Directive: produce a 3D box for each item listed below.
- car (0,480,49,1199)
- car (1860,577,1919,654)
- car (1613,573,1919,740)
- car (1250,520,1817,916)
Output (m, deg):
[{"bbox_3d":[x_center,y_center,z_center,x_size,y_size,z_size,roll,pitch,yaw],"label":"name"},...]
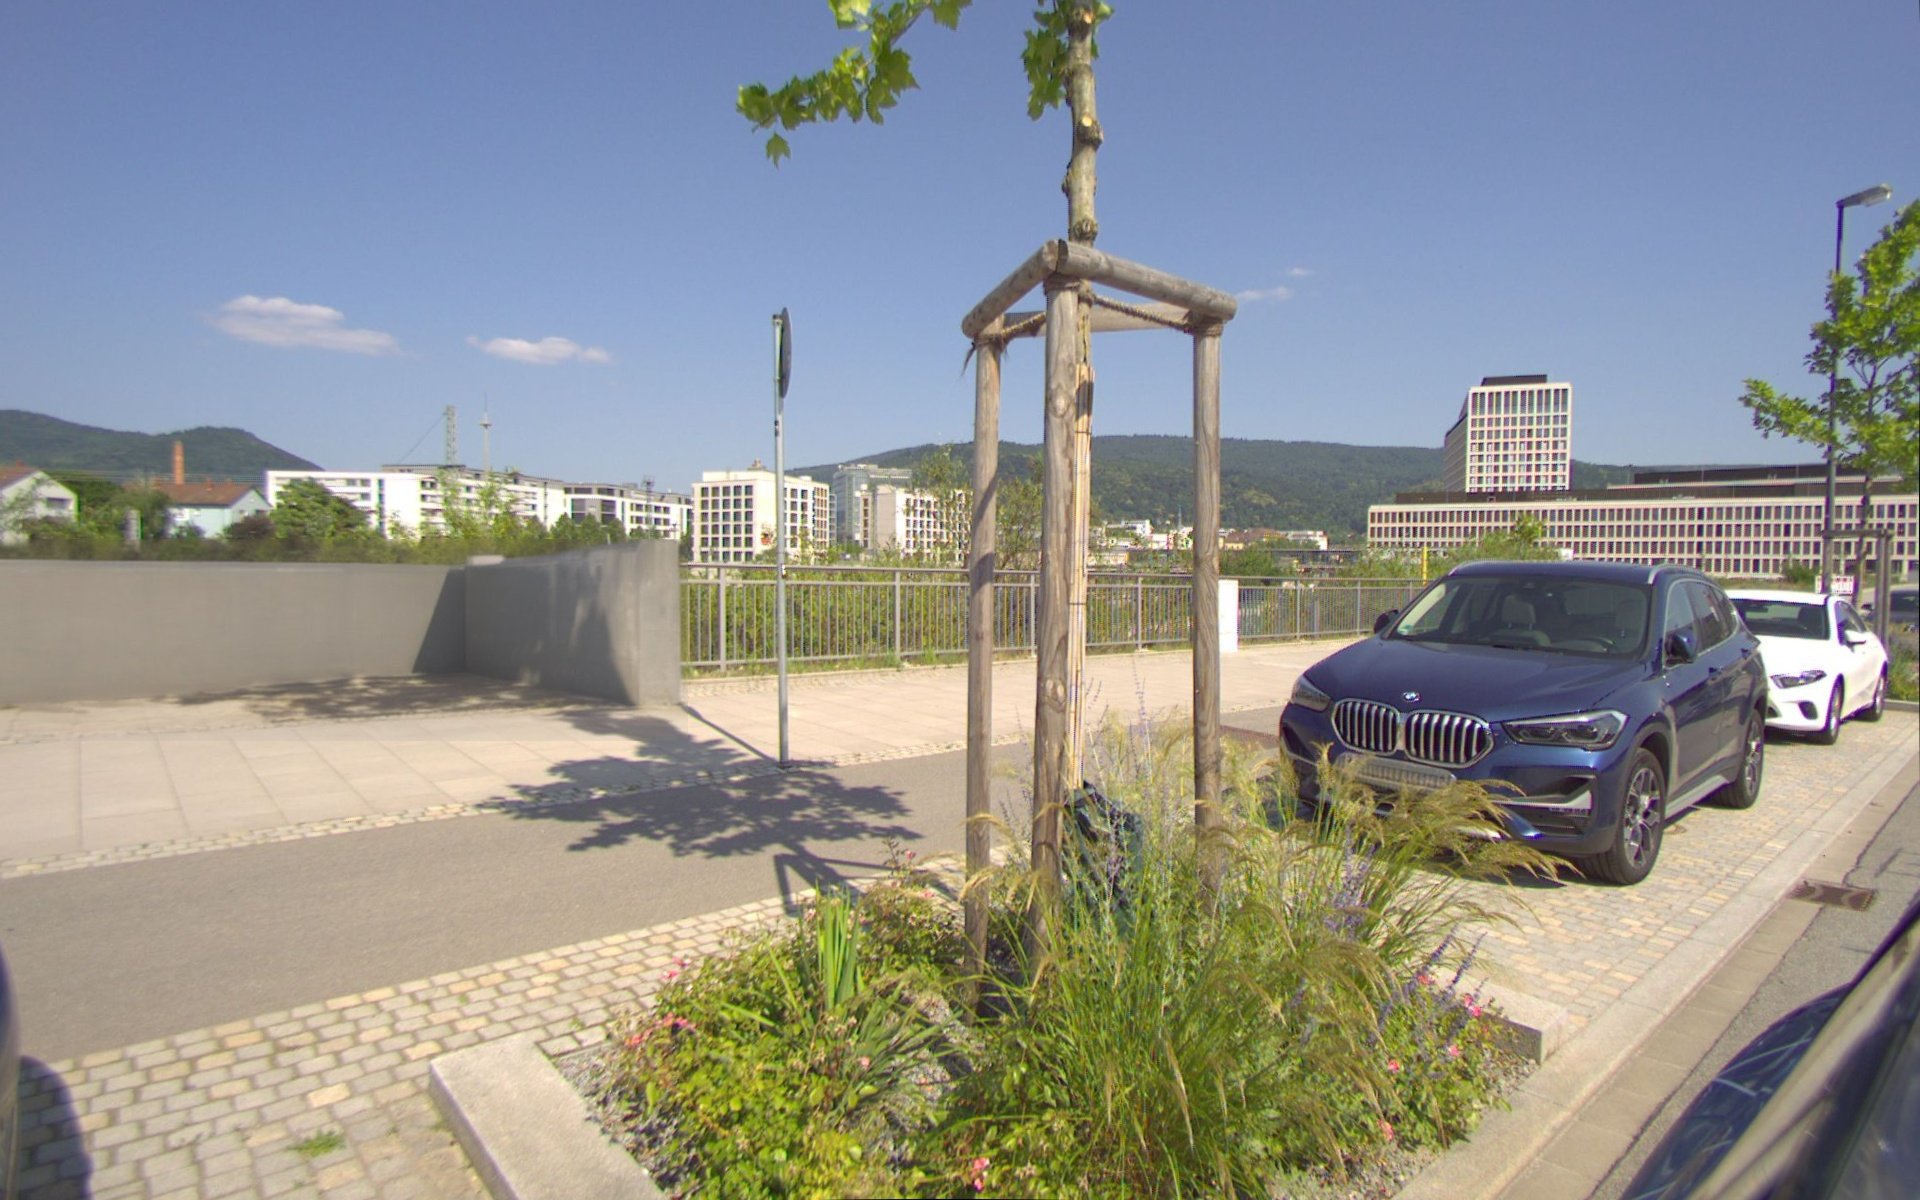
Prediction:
[{"bbox_3d":[-2.831,0.607,0.504,3.485,1.574,1.585,0,4,-41],"label":"car"},{"bbox_3d":[20.252,0.299,21.032,3.849,1.449,1.808,-1,5,-41],"label":"car"},{"bbox_3d":[8.885,0.456,11.018,4.194,1.390,1.711,-1,5,-39],"label":"car"},{"bbox_3d":[3.818,0.421,6.407,4.197,1.703,1.807,-1,4,-41],"label":"car"}]
